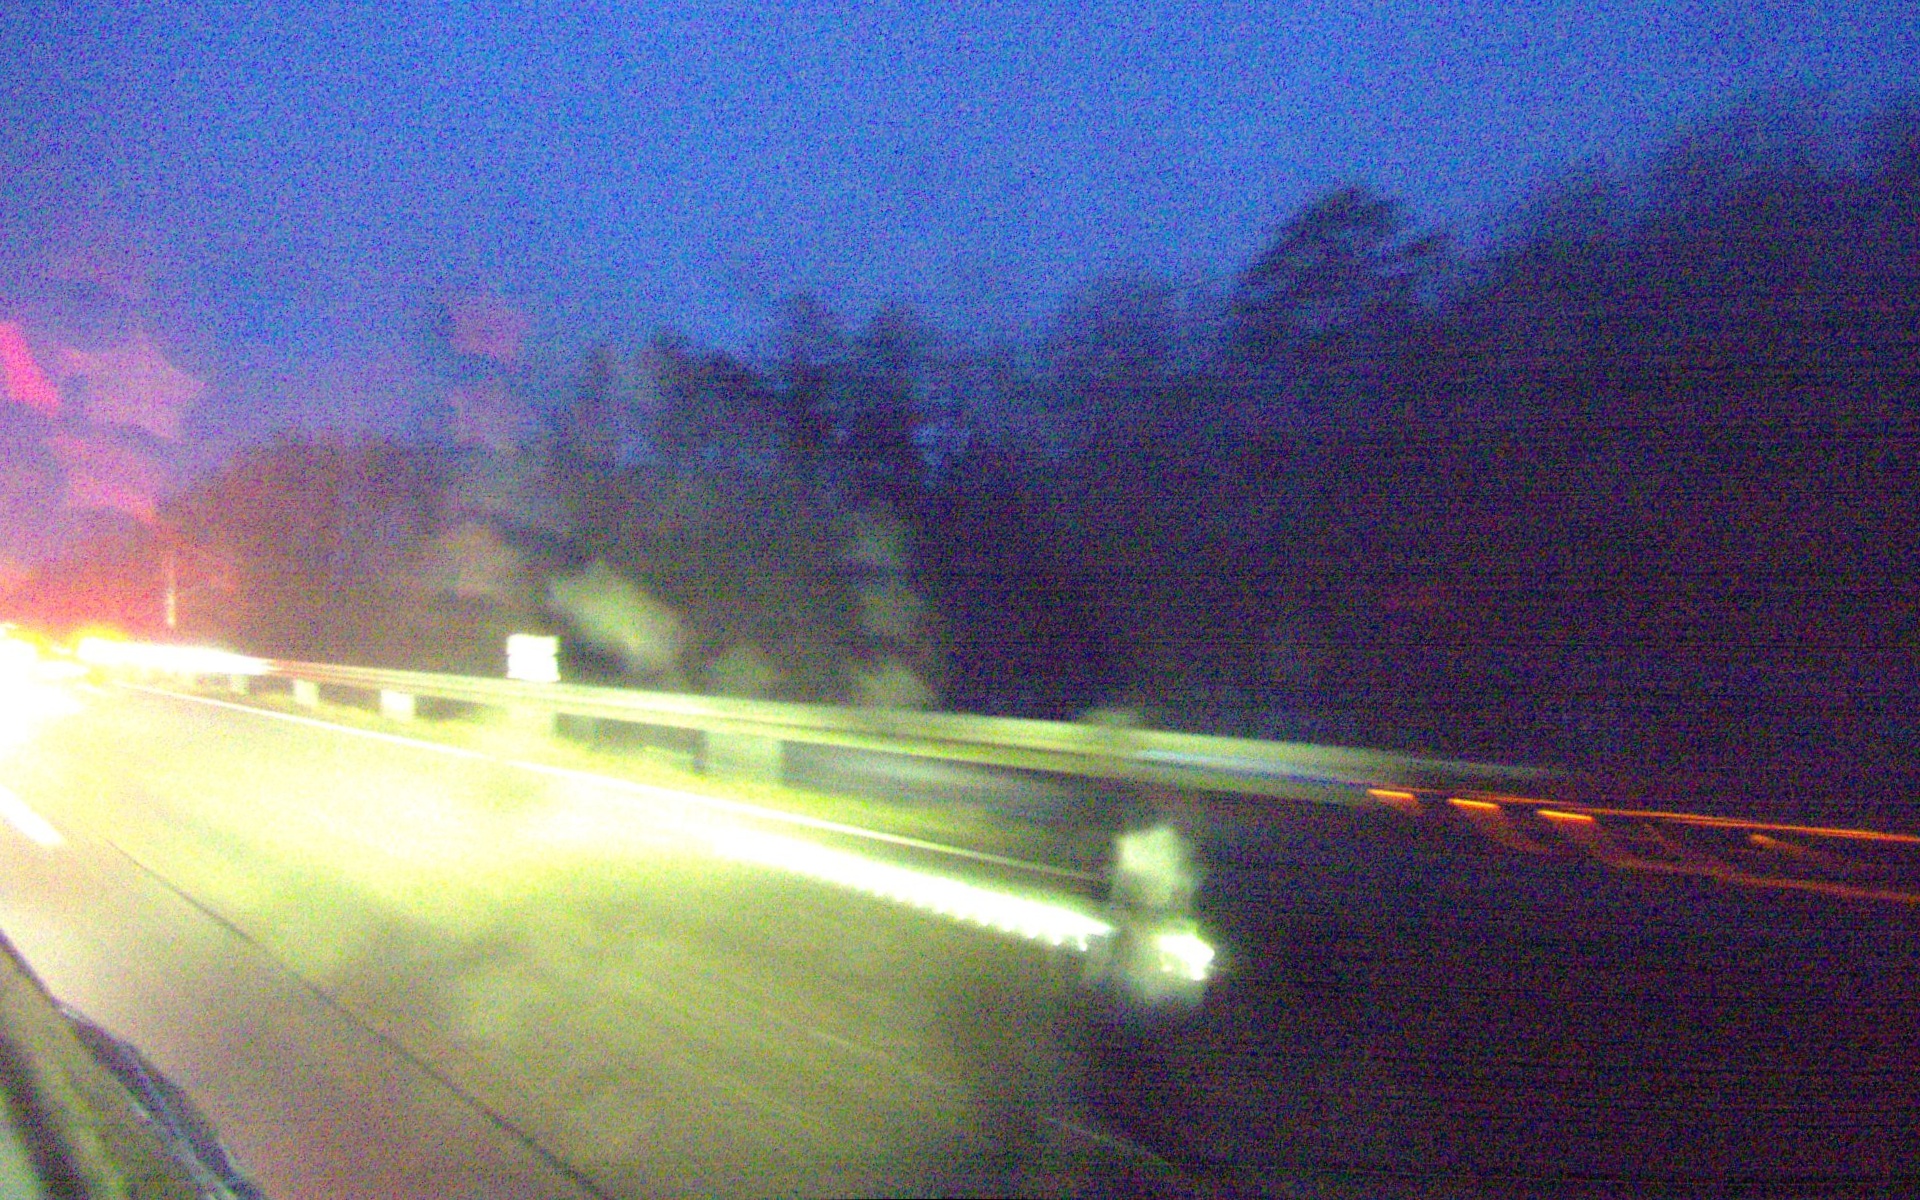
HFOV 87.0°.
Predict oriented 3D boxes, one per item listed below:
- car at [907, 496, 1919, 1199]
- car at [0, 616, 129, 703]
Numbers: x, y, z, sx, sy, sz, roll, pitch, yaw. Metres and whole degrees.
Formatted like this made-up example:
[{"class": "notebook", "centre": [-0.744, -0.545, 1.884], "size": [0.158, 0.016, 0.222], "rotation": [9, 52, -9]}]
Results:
[{"class": "car", "centre": [2.124, 0.597, 1.887], "size": [4.388, 1.482, 1.817], "rotation": [-1, -1, 40]}, {"class": "car", "centre": [-18.580, 1.211, 20.634], "size": [3.998, 1.599, 1.911], "rotation": [-3, -4, 42]}]
